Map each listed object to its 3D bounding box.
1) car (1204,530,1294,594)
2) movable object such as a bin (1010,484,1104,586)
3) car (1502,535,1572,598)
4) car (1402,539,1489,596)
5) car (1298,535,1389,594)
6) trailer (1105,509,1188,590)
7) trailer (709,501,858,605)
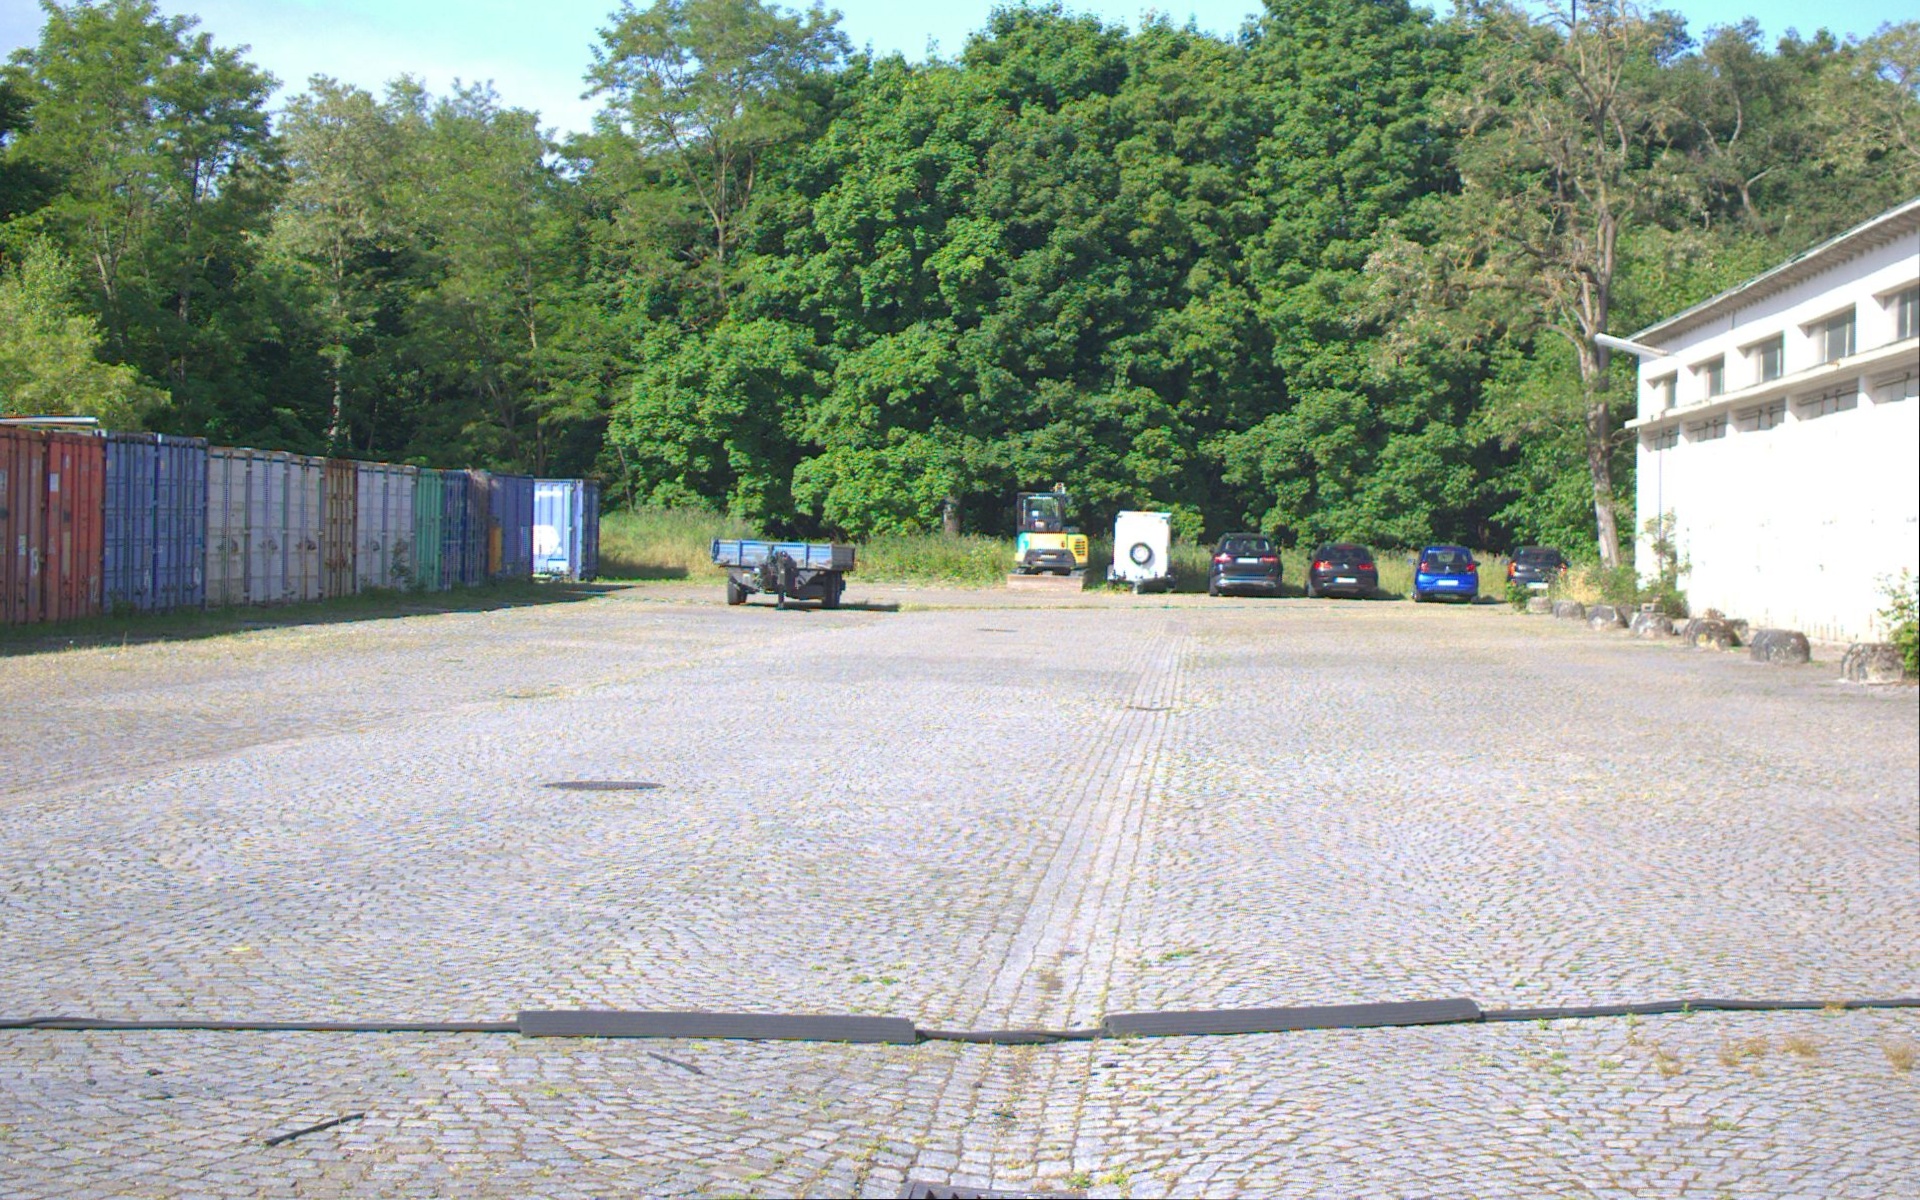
[{"bbox_3d":[7.506,-1.001,88.957,1.862,1.580,3.998,1,1,11],"label":"car"},{"bbox_3d":[2.603,-1.720,91.585,1.994,2.609,3.999,1,1,8],"label":"movable object such as a bin"},{"bbox_3d":[15.131,-0.888,90.071,1.686,1.558,3.998,1,1,11],"label":"car"},{"bbox_3d":[12.599,-0.853,89.033,1.994,1.415,3.998,1,1,11],"label":"car"},{"bbox_3d":[9.974,-0.926,89.236,1.994,1.457,3.998,1,1,11],"label":"car"},{"bbox_3d":[4.967,-1.344,91.129,1.794,2.083,3.970,1,1,8],"label":"trailer"},{"bbox_3d":[-3.685,-1.001,72.732,2.407,2.007,4.172,3,1,6],"label":"trailer"}]
